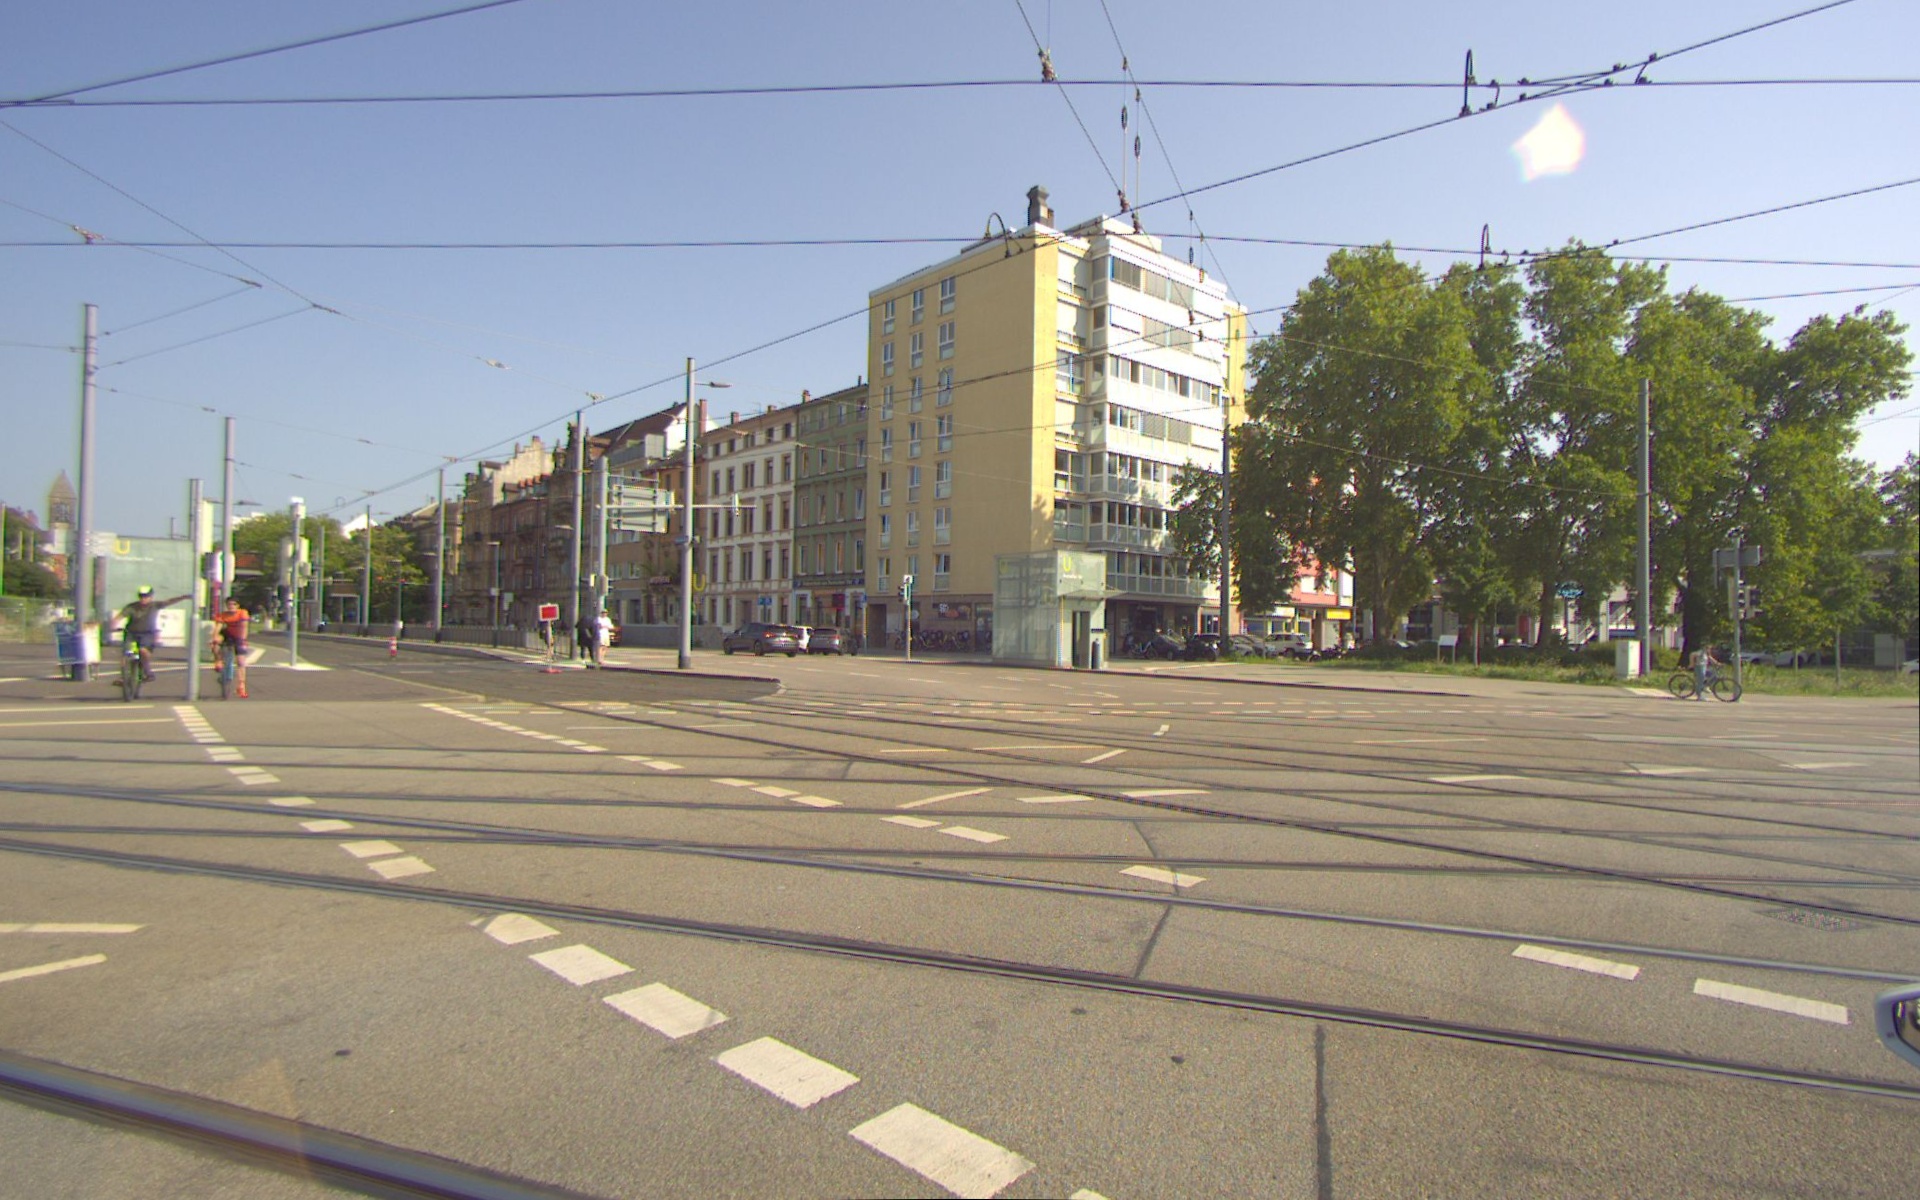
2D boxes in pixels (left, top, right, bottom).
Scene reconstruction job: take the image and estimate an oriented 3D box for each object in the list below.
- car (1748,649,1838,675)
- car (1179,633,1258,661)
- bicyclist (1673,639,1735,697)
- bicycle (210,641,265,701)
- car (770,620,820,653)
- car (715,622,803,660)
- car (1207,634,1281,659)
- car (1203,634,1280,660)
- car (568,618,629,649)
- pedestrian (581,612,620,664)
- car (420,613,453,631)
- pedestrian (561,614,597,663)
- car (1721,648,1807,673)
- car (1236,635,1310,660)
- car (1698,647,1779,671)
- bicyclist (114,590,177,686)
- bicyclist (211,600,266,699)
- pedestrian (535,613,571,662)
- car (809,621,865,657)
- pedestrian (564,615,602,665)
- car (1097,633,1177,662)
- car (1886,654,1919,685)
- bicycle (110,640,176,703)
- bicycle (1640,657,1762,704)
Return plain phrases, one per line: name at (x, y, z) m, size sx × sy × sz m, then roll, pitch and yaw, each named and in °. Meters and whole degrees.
car at (56.011, 4.174, 67.624) m, size 4.423 × 1.542 × 1.706 m, roll 1°, pitch -1°, yaw 7°
car at (14.579, 2.638, 56.757) m, size 1.567 × 1.372 × 4.117 m, roll 3°, pitch -2°, yaw -43°
bicyclist at (20.949, 1.902, 28.305) m, size 0.952 × 1.547 × 1.153 m, roll 2°, pitch 0°, yaw -38°
bicycle at (-12.518, 1.210, 17.421) m, size 0.719 × 0.944 × 1.800 m, roll 2°, pitch -2°, yaw -35°
car at (-9.047, 1.986, 55.367) m, size 1.960 × 1.700 × 4.551 m, roll 1°, pitch -1°, yaw 0°
car at (-8.691, 1.730, 43.212) m, size 1.822 × 1.454 × 4.499 m, roll 2°, pitch -2°, yaw -39°
car at (17.196, 2.811, 60.994) m, size 1.567 × 1.372 × 4.117 m, roll 3°, pitch -2°, yaw -43°
car at (16.417, 2.737, 58.745) m, size 1.567 × 1.372 × 4.117 m, roll 3°, pitch -2°, yaw -43°
car at (-21.125, 1.929, 58.609) m, size 1.983 × 1.701 × 4.499 m, roll 2°, pitch -2°, yaw -39°
pedestrian at (-12.095, 1.264, 33.799) m, size 0.916 × 1.712 × 0.913 m, roll 2°, pitch -1°, yaw -42°
car at (-51.486, 2.132, 98.754) m, size 1.983 × 1.701 × 4.499 m, roll 2°, pitch -2°, yaw -39°
pedestrian at (-13.621, 1.361, 35.890) m, size 0.916 × 1.712 × 0.913 m, roll 2°, pitch -1°, yaw -42°
car at (55.845, 4.177, 69.799) m, size 4.423 × 1.542 × 1.706 m, roll 1°, pitch -1°, yaw 7°
car at (19.220, 2.882, 61.735) m, size 1.567 × 1.372 × 4.117 m, roll 3°, pitch -2°, yaw -43°
car at (56.718, 4.303, 73.228) m, size 4.423 × 1.542 × 1.706 m, roll 1°, pitch -1°, yaw 7°
bicyclist at (-13.576, 0.622, 16.758) m, size 0.719 × 1.547 × 0.789 m, roll 2°, pitch -1°, yaw -36°
bicyclist at (-12.509, 0.846, 17.427) m, size 0.719 × 1.674 × 0.875 m, roll 2°, pitch -1°, yaw -36°
pedestrian at (-14.677, 1.350, 36.191) m, size 0.916 × 1.712 × 0.913 m, roll 2°, pitch -1°, yaw -42°
car at (-6.206, 1.984, 51.385) m, size 1.960 × 1.700 × 4.553 m, roll 1°, pitch -1°, yaw 4°
pedestrian at (-13.106, 1.388, 34.921) m, size 0.916 × 1.712 × 0.913 m, roll 2°, pitch -1°, yaw -42°
car at (9.371, 2.486, 53.374) m, size 1.471 × 1.372 × 4.117 m, roll 3°, pitch -2°, yaw -43°
car at (51.260, 3.685, 52.373) m, size 1.679 × 1.542 × 4.082 m, roll 2°, pitch -1°, yaw -19°
bicycle at (-13.584, 1.169, 16.742) m, size 0.719 × 0.944 × 1.800 m, roll 2°, pitch -2°, yaw -35°
bicycle at (20.879, 2.248, 28.375) m, size 0.952 × 1.071 × 2.579 m, roll 3°, pitch 1°, yaw -38°
